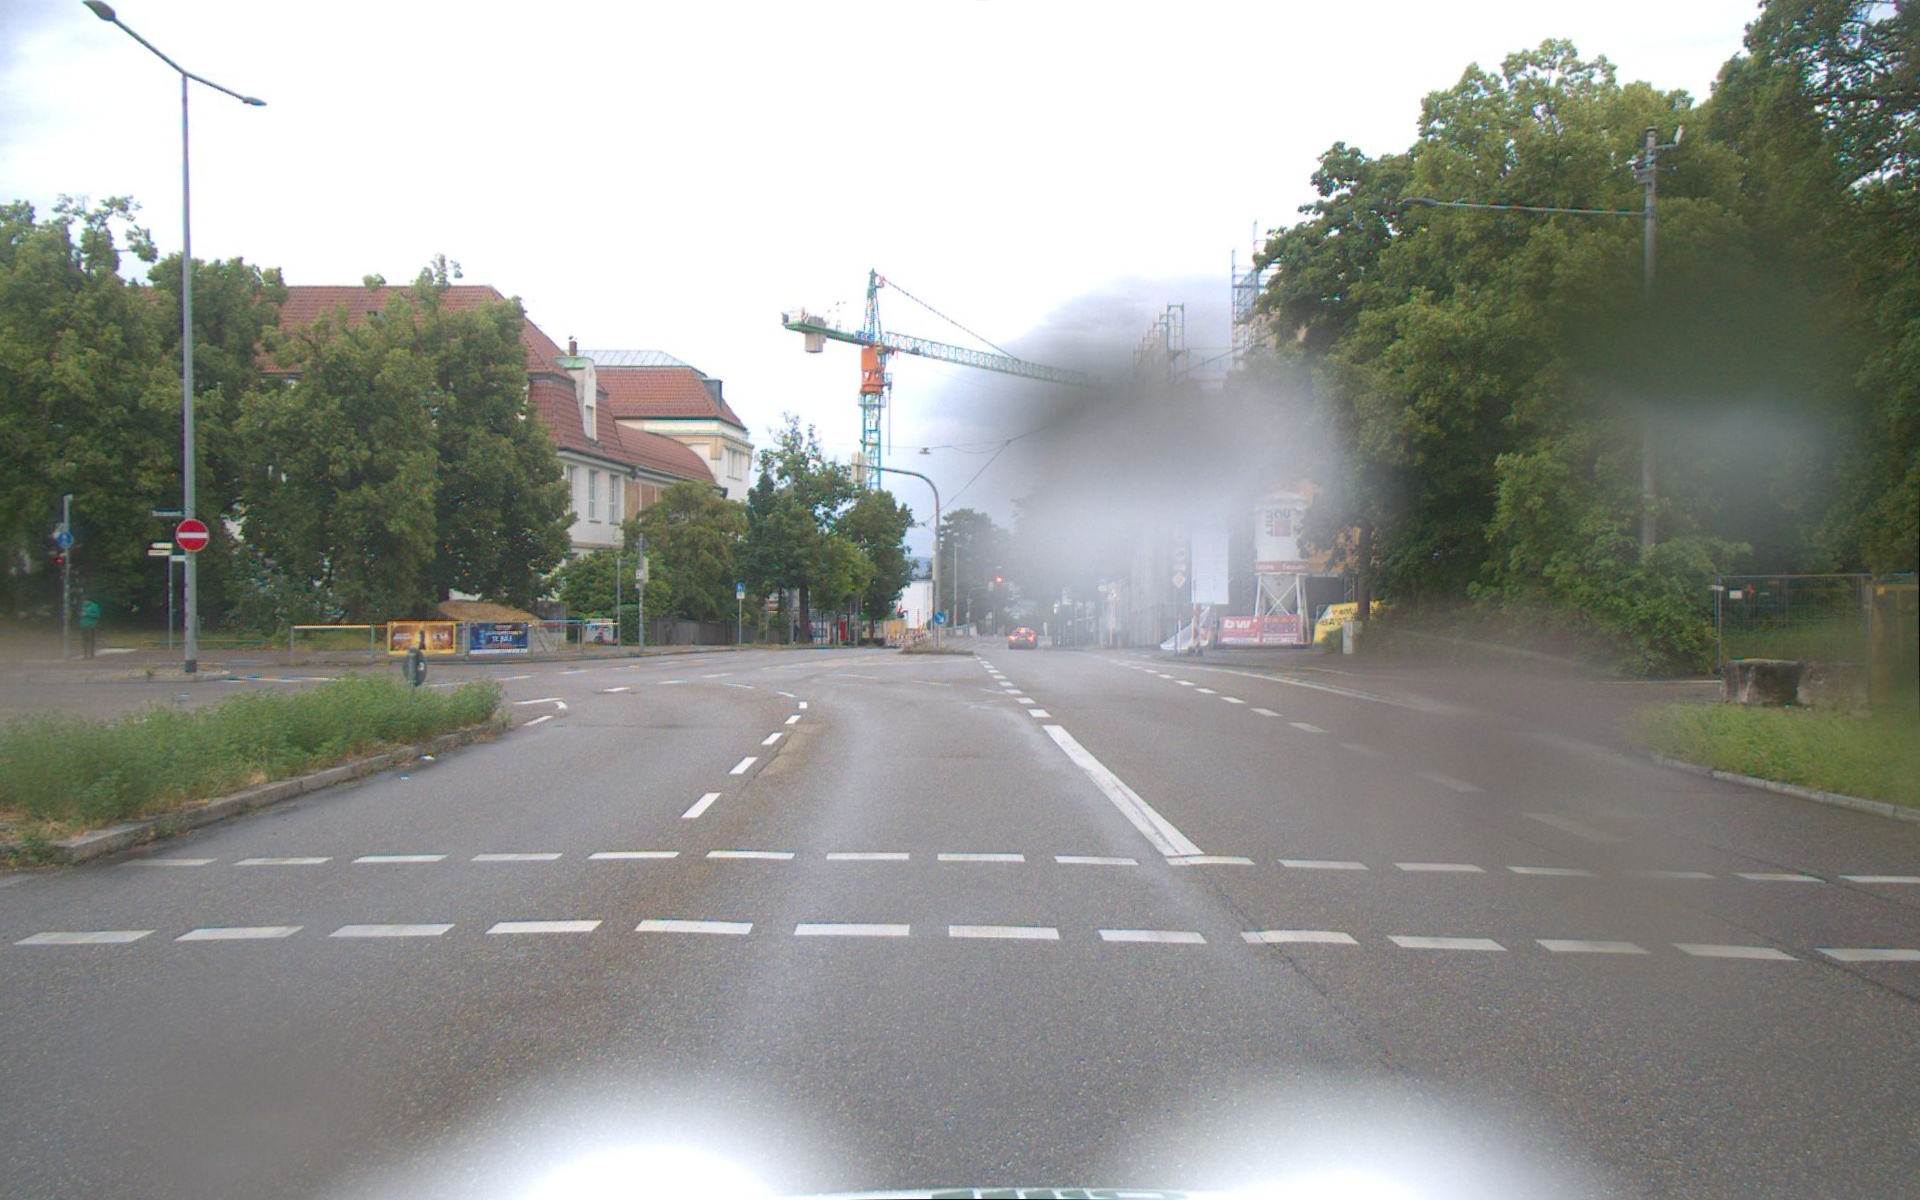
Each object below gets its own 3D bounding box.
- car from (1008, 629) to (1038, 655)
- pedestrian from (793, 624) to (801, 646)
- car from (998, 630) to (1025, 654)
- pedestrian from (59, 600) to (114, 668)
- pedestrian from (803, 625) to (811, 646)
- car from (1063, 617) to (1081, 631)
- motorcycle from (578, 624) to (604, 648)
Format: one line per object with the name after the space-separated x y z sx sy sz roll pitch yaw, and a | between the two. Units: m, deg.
4.671 3.114 122.398 1.953 1.780 3.999 -1 0 -1 | car
-10.740 2.305 109.162 0.465 1.421 0.411 0 0 -1 | pedestrian
4.056 3.328 130.754 1.953 1.780 3.999 -1 0 -1 | car
-23.156 0.887 43.866 0.903 1.757 0.946 1 -1 3 | pedestrian
-10.110 2.332 109.127 0.465 1.421 0.411 0 0 -1 | pedestrian
14.911 3.130 219.517 1.951 1.780 4.003 -1 0 10 | car
-14.416 1.406 64.634 0.832 0.893 0.877 1 0 -1 | motorcycle
